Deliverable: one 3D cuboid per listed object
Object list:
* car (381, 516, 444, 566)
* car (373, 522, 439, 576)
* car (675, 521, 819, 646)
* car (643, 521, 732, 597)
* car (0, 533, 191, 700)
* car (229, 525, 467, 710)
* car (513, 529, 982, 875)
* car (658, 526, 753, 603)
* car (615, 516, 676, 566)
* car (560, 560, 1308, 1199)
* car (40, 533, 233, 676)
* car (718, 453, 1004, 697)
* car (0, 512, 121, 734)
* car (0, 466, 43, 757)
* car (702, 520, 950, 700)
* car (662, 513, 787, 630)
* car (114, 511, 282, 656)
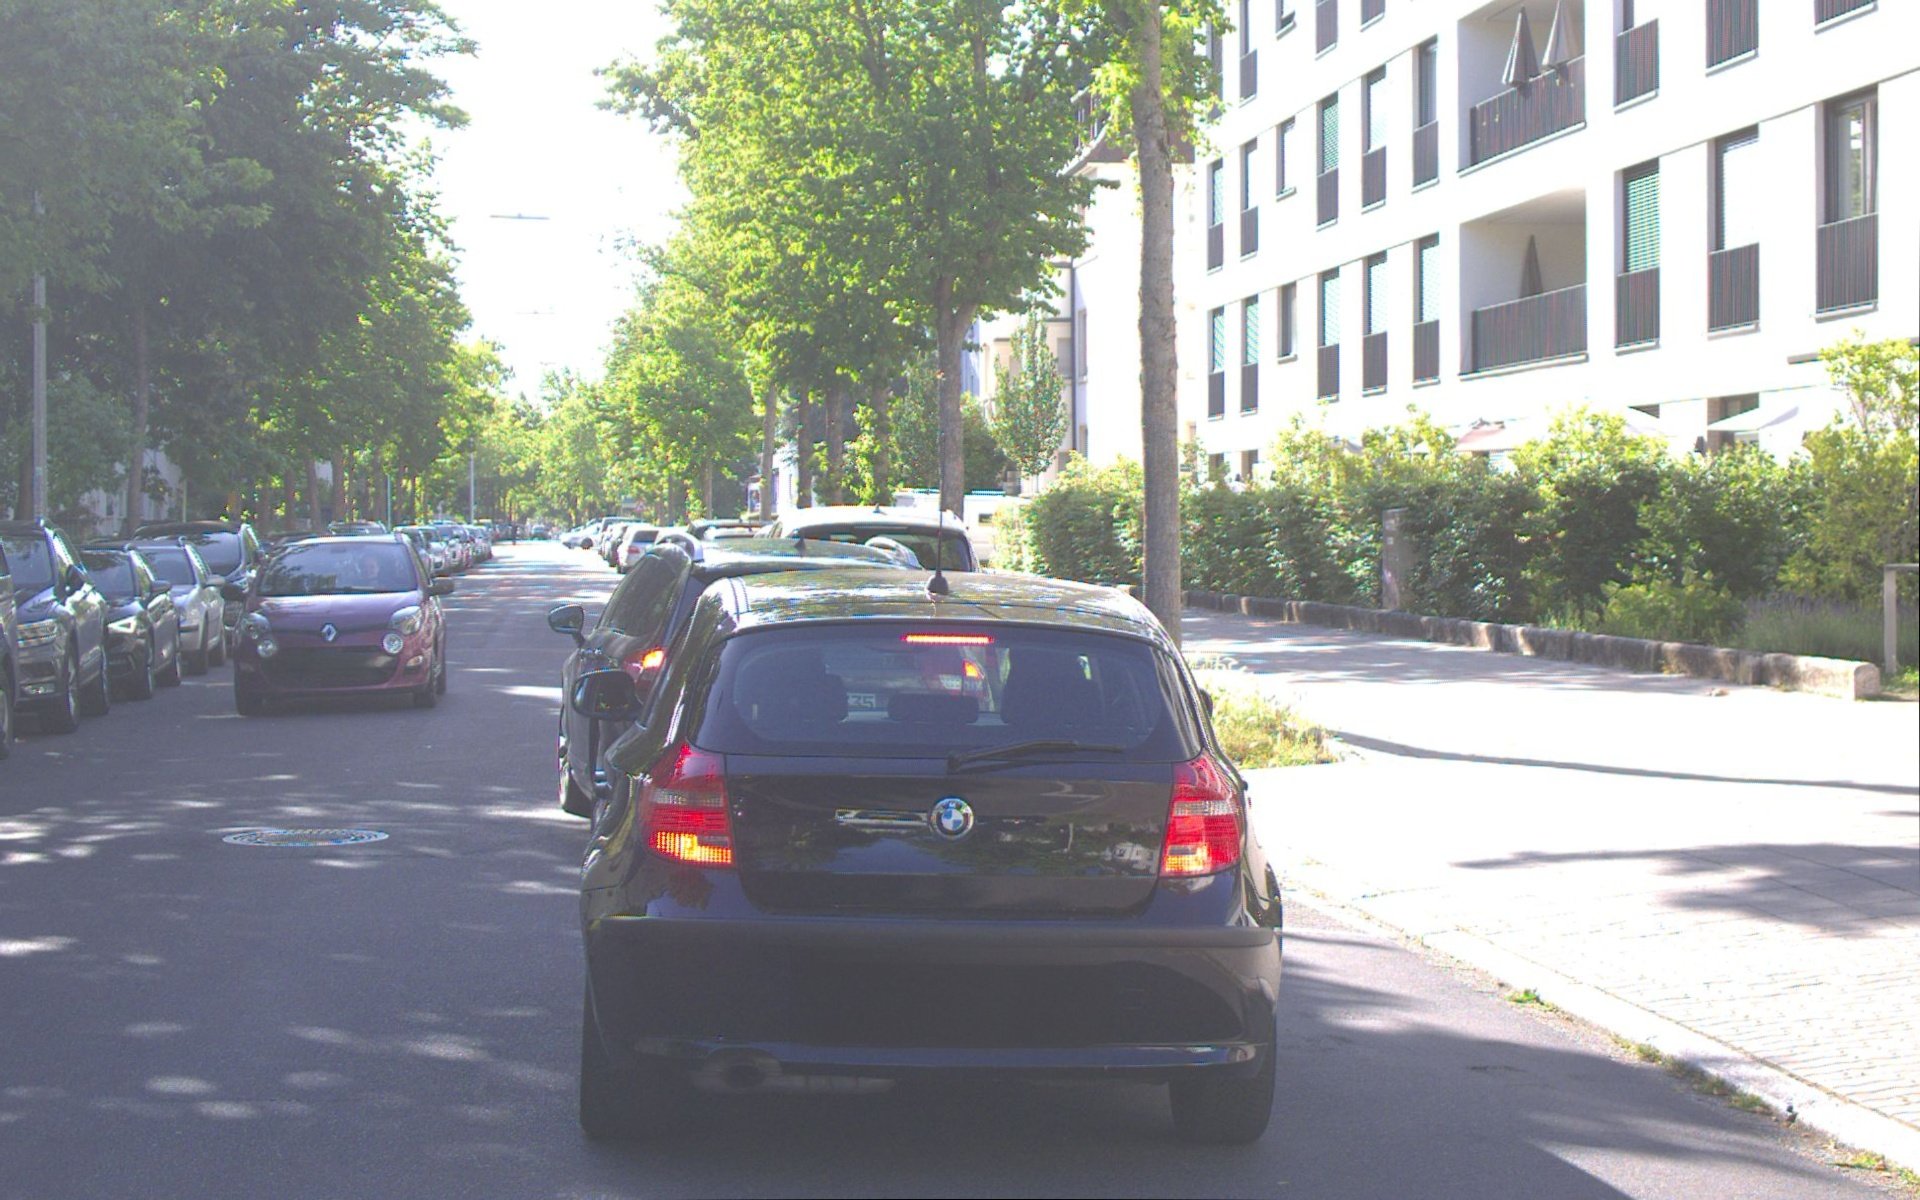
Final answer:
[{"bbox_3d":[-15.715,-1.712,98.856,1.612,1.387,3.867,-2,2,-7],"label":"car"},{"bbox_3d":[-15.039,-1.397,93.477,1.612,1.387,3.867,-2,2,-7],"label":"car"},{"bbox_3d":[-2.850,-0.255,45.344,1.720,1.523,4.001,2,1,-5],"label":"car"},{"bbox_3d":[-5.660,-0.864,71.105,1.720,1.475,3.852,2,1,-5],"label":"car"},{"bbox_3d":[-8.291,0.111,32.421,1.612,1.422,4.059,-2,2,-7],"label":"car"},{"bbox_3d":[-5.089,0.106,28.921,1.505,1.421,3.178,-1,2,-2],"label":"car"},{"bbox_3d":[-1.151,0.389,16.709,1.649,1.420,4.002,-1,2,-12],"label":"car"},{"bbox_3d":[-4.945,-0.706,66.368,1.720,1.374,3.852,2,1,-5],"label":"car"},{"bbox_3d":[-9.701,-1.824,106.167,1.720,1.475,3.852,-1,1,-3],"label":"car"},{"bbox_3d":[-0.243,0.628,9.409,1.649,1.392,3.412,-1,2,-7],"label":"car"},{"bbox_3d":[-8.922,0.012,37.478,1.612,1.422,3.727,-2,2,-7],"label":"car"},{"bbox_3d":[-0.818,-0.197,25.311,1.847,1.625,4.411,0,1,-5],"label":"car"},{"bbox_3d":[-7.667,0.139,27.147,1.612,1.606,4.231,-2,2,-9],"label":"car"},{"bbox_3d":[-7.105,0.125,21.423,1.826,1.898,5.143,-2,2,-6],"label":"car"},{"bbox_3d":[-1.273,0.042,30.994,1.693,1.518,4.001,0,1,-10],"label":"car"},{"bbox_3d":[-3.552,-0.451,51.310,1.720,1.635,3.852,2,1,-5],"label":"car"},{"bbox_3d":[-9.454,-0.245,42.890,1.612,1.673,4.235,-2,2,-7],"label":"car"}]
